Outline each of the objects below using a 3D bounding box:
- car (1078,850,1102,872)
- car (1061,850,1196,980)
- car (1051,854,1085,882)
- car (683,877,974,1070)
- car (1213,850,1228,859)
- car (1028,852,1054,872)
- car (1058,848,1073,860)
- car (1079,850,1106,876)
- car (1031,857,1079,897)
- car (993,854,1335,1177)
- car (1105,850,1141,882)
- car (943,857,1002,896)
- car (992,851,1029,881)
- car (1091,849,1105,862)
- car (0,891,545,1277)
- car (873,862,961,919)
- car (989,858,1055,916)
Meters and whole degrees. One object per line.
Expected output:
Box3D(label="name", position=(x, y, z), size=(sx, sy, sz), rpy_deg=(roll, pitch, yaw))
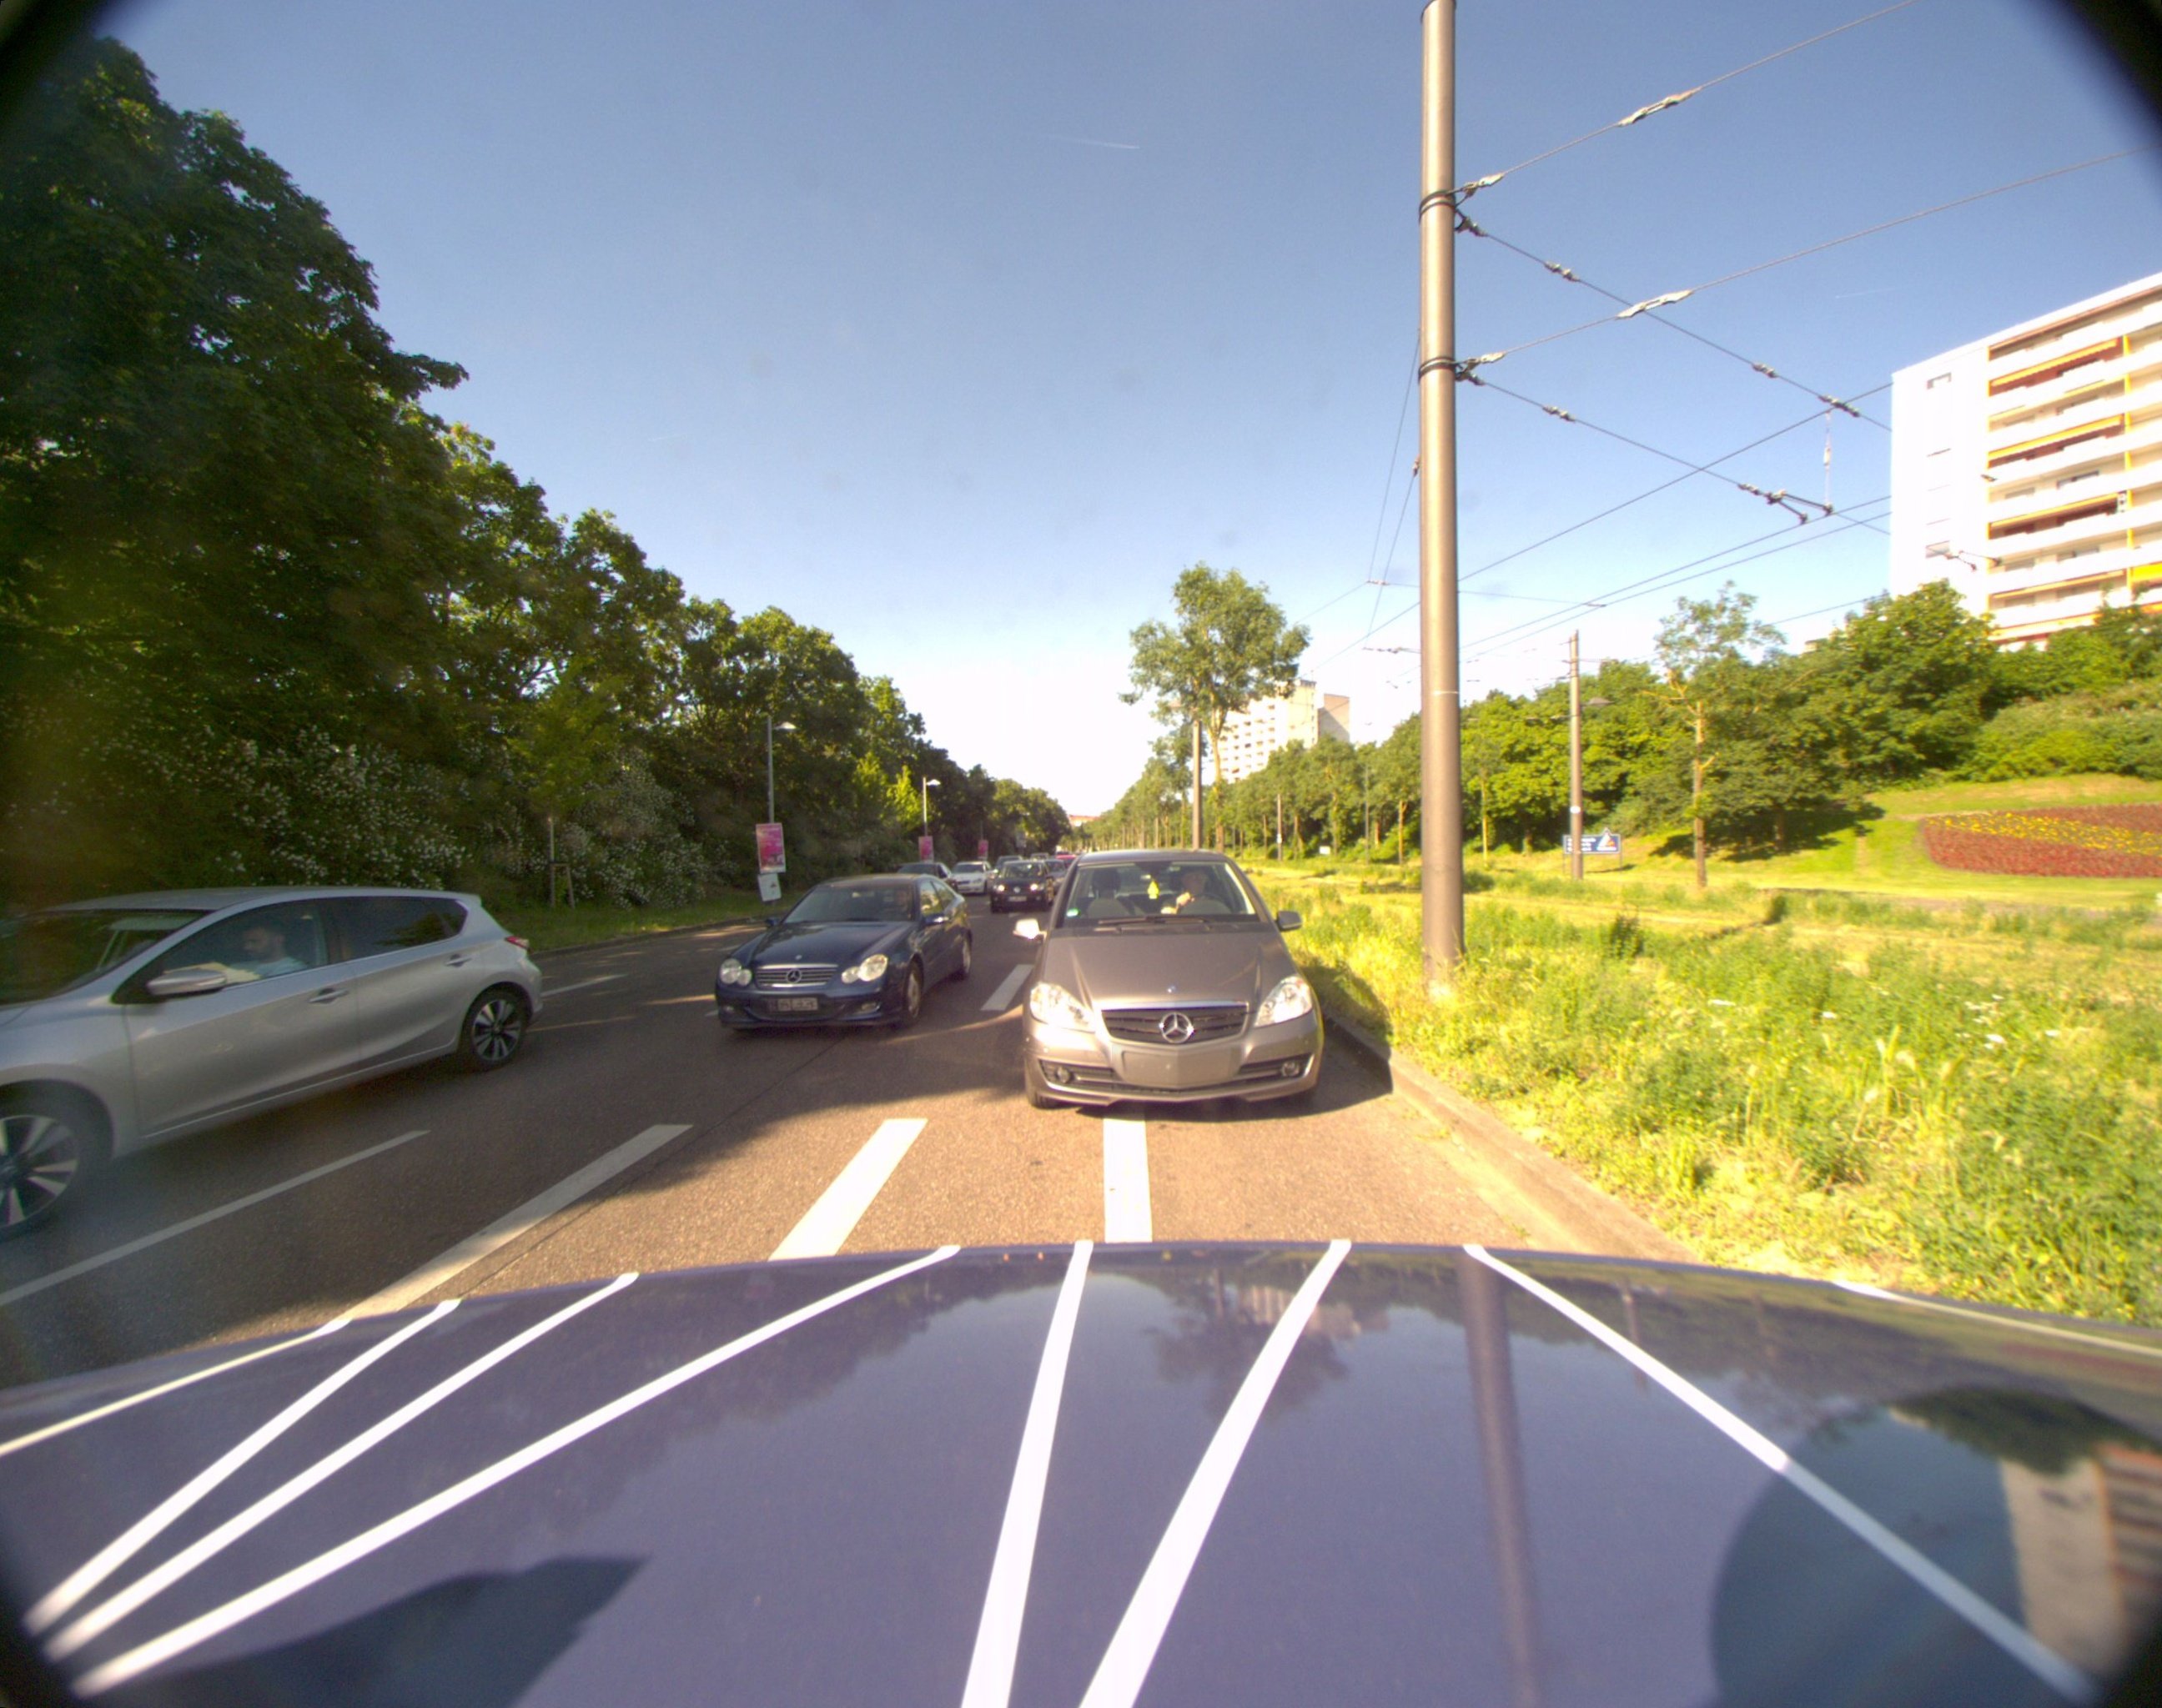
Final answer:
Box3D(label="car", position=(0.729, 0.541, 61.264), size=(1.749, 1.652, 3.999), rpy_deg=(-2, 1, 1))
Box3D(label="car", position=(0.659, 0.809, 12.171), size=(1.749, 1.652, 3.999), rpy_deg=(-2, 1, 1))
Box3D(label="car", position=(-0.712, 0.767, 43.642), size=(1.685, 1.437, 3.727), rpy_deg=(-2, 1, 2))
Box3D(label="car", position=(-2.365, 1.047, 8.280), size=(1.723, 1.411, 4.050), rpy_deg=(-1, 0, 1))
Box3D(label="car", position=(22.063, 0.111, 120.330), size=(1.578, 1.412, 3.909), rpy_deg=(-2, 0, 1))
Box3D(label="car", position=(-3.177, 0.606, 60.662), size=(1.713, 1.485, 3.963), rpy_deg=(-2, 0, 1))
Box3D(label="car", position=(-1.879, -0.018, 93.557), size=(1.713, 1.485, 3.963), rpy_deg=(-2, 0, 1))
Box3D(label="car", position=(0.808, 0.622, 53.476), size=(1.749, 1.652, 3.999), rpy_deg=(-2, 1, 1))
Box3D(label="car", position=(-1.022, 0.881, 31.283), size=(1.713, 1.430, 4.171), rpy_deg=(-2, 0, 1))
Box3D(label="car", position=(0.467, 0.859, 6.016), size=(1.749, 1.630, 4.000), rpy_deg=(-2, 0, 1))
Box3D(label="car", position=(2.268, 0.642, 41.640), size=(1.749, 1.652, 4.000), rpy_deg=(-1, 0, 1))
Box3D(label="car", position=(-4.609, 0.926, 32.838), size=(1.749, 1.427, 4.386), rpy_deg=(-2, 1, 2))
Box3D(label="car", position=(-4.126, 0.692, 45.072), size=(1.749, 1.652, 4.000), rpy_deg=(-1, 0, 1))
Box3D(label="car", position=(2.095, 0.166, 92.943), size=(1.630, 1.556, 3.812), rpy_deg=(-2, 1, 1))
Box3D(label="car", position=(-5.530, 1.110, 4.414), size=(1.725, 1.508, 4.138), rpy_deg=(-2, 0, 2))
Box3D(label="car", position=(-4.875, 1.038, 23.100), size=(1.713, 1.485, 3.963), rpy_deg=(-2, 0, 1))
Box3D(label="car", position=(-1.681, 0.923, 22.771), size=(1.621, 1.485, 3.452), rpy_deg=(-2, 1, 0))
